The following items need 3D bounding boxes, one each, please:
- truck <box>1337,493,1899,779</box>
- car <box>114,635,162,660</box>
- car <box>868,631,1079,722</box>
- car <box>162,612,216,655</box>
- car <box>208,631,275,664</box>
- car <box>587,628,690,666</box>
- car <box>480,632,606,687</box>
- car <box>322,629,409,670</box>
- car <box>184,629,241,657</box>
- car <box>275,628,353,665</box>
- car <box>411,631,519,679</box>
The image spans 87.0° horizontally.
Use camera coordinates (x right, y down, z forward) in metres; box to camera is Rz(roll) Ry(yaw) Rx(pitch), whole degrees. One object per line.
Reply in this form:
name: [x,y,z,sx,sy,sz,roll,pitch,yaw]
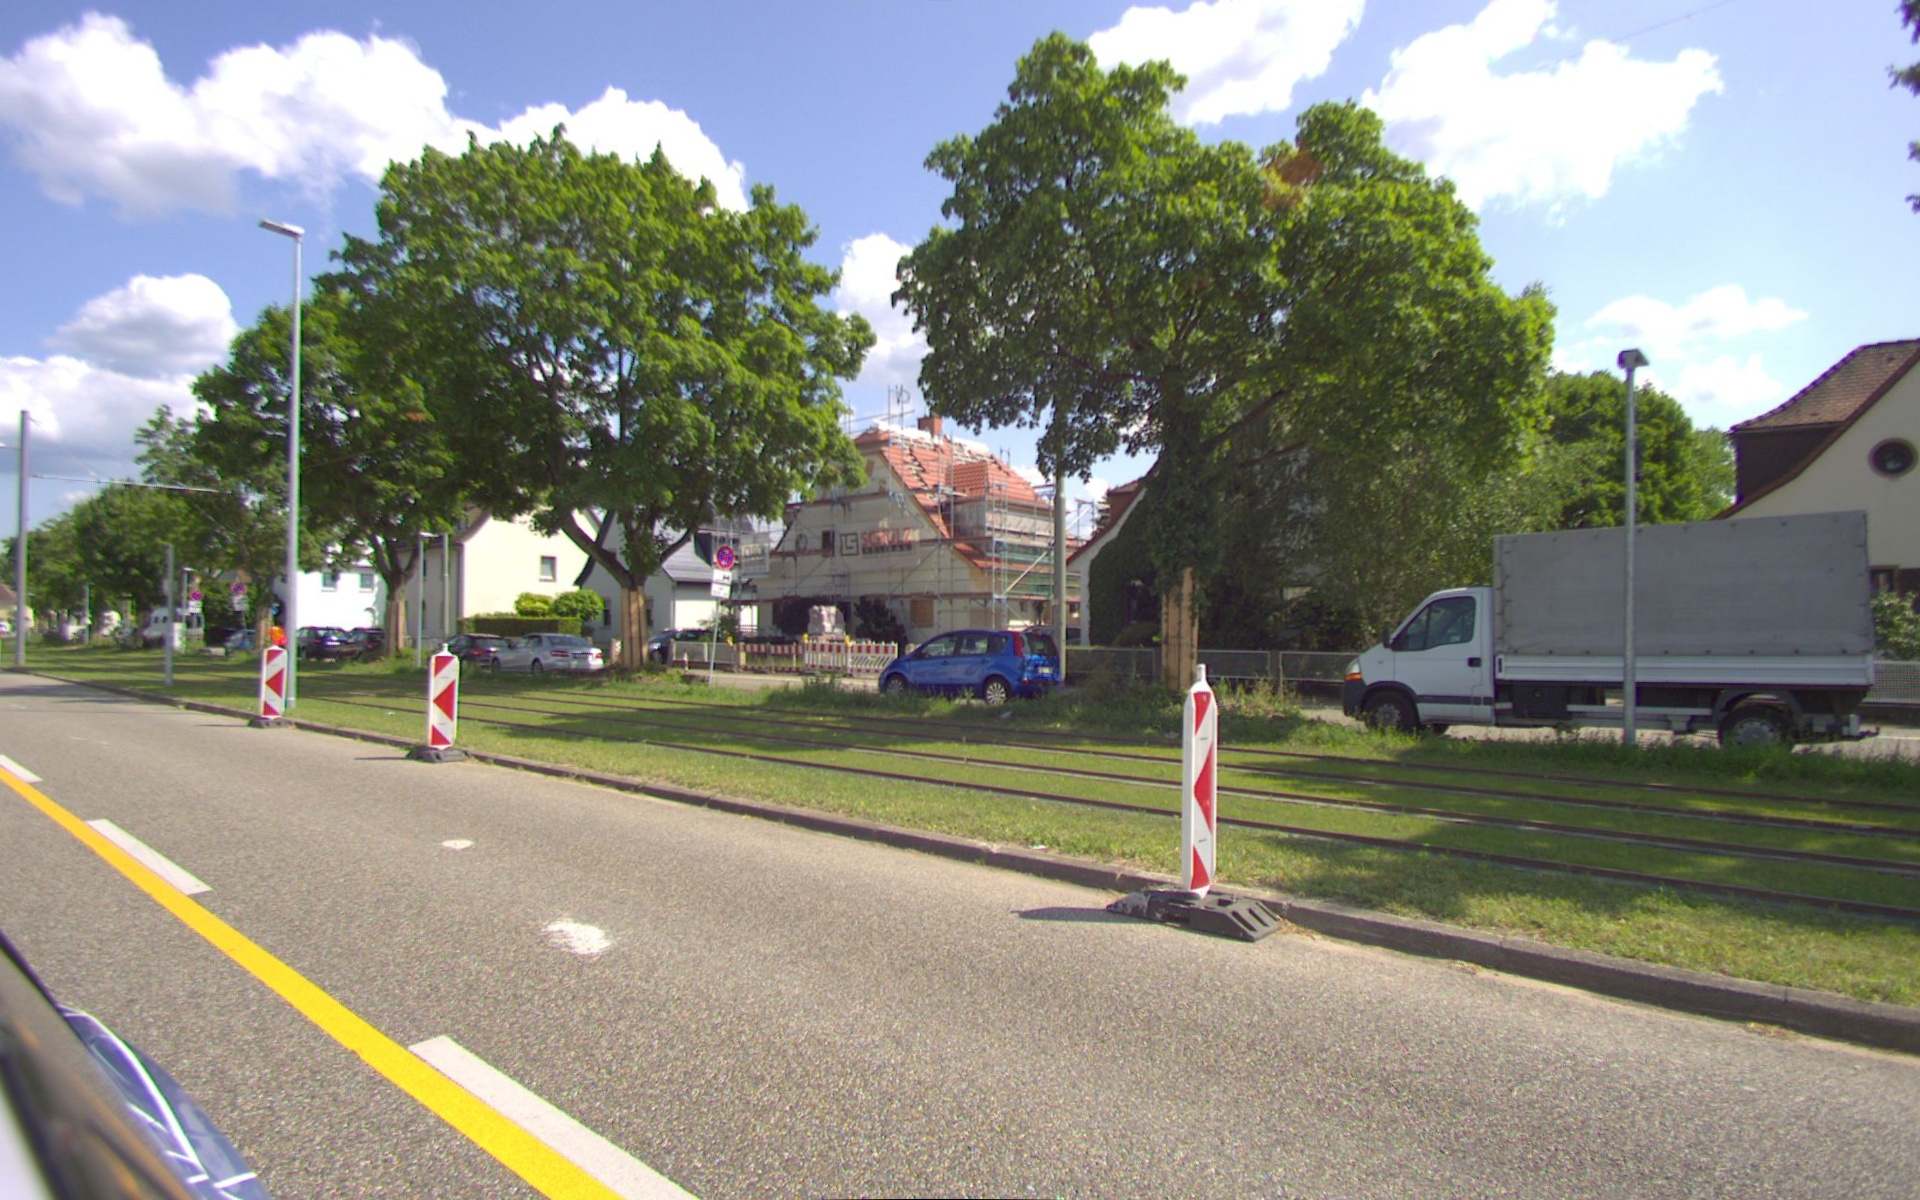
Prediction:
truck: [8.278,0.463,13.355,5.871,3.010,1.982,-2,-3,41]
car: [-57.019,3.267,70.151,4.603,1.623,1.733,-2,-3,40]
car: [0.208,1.442,20.177,4.047,1.623,1.733,-2,-3,40]
car: [-48.869,2.106,64.131,4.603,2.636,1.733,-2,-3,40]
car: [-37.641,2.467,52.980,4.603,1.623,1.733,-2,-3,40]
car: [-14.079,2.046,44.508,1.756,1.623,3.995,-2,-3,41]
car: [-13.170,1.829,31.861,4.603,1.623,1.733,-2,-3,40]
car: [-25.180,2.072,42.827,4.603,1.623,1.733,-2,-3,40]
car: [-44.642,2.552,60.405,4.603,1.623,1.733,-2,-3,40]
car: [-29.599,2.097,46.331,4.603,1.623,1.733,-2,-3,40]
car: [-17.611,1.913,35.932,4.603,1.623,1.733,-2,-3,40]
